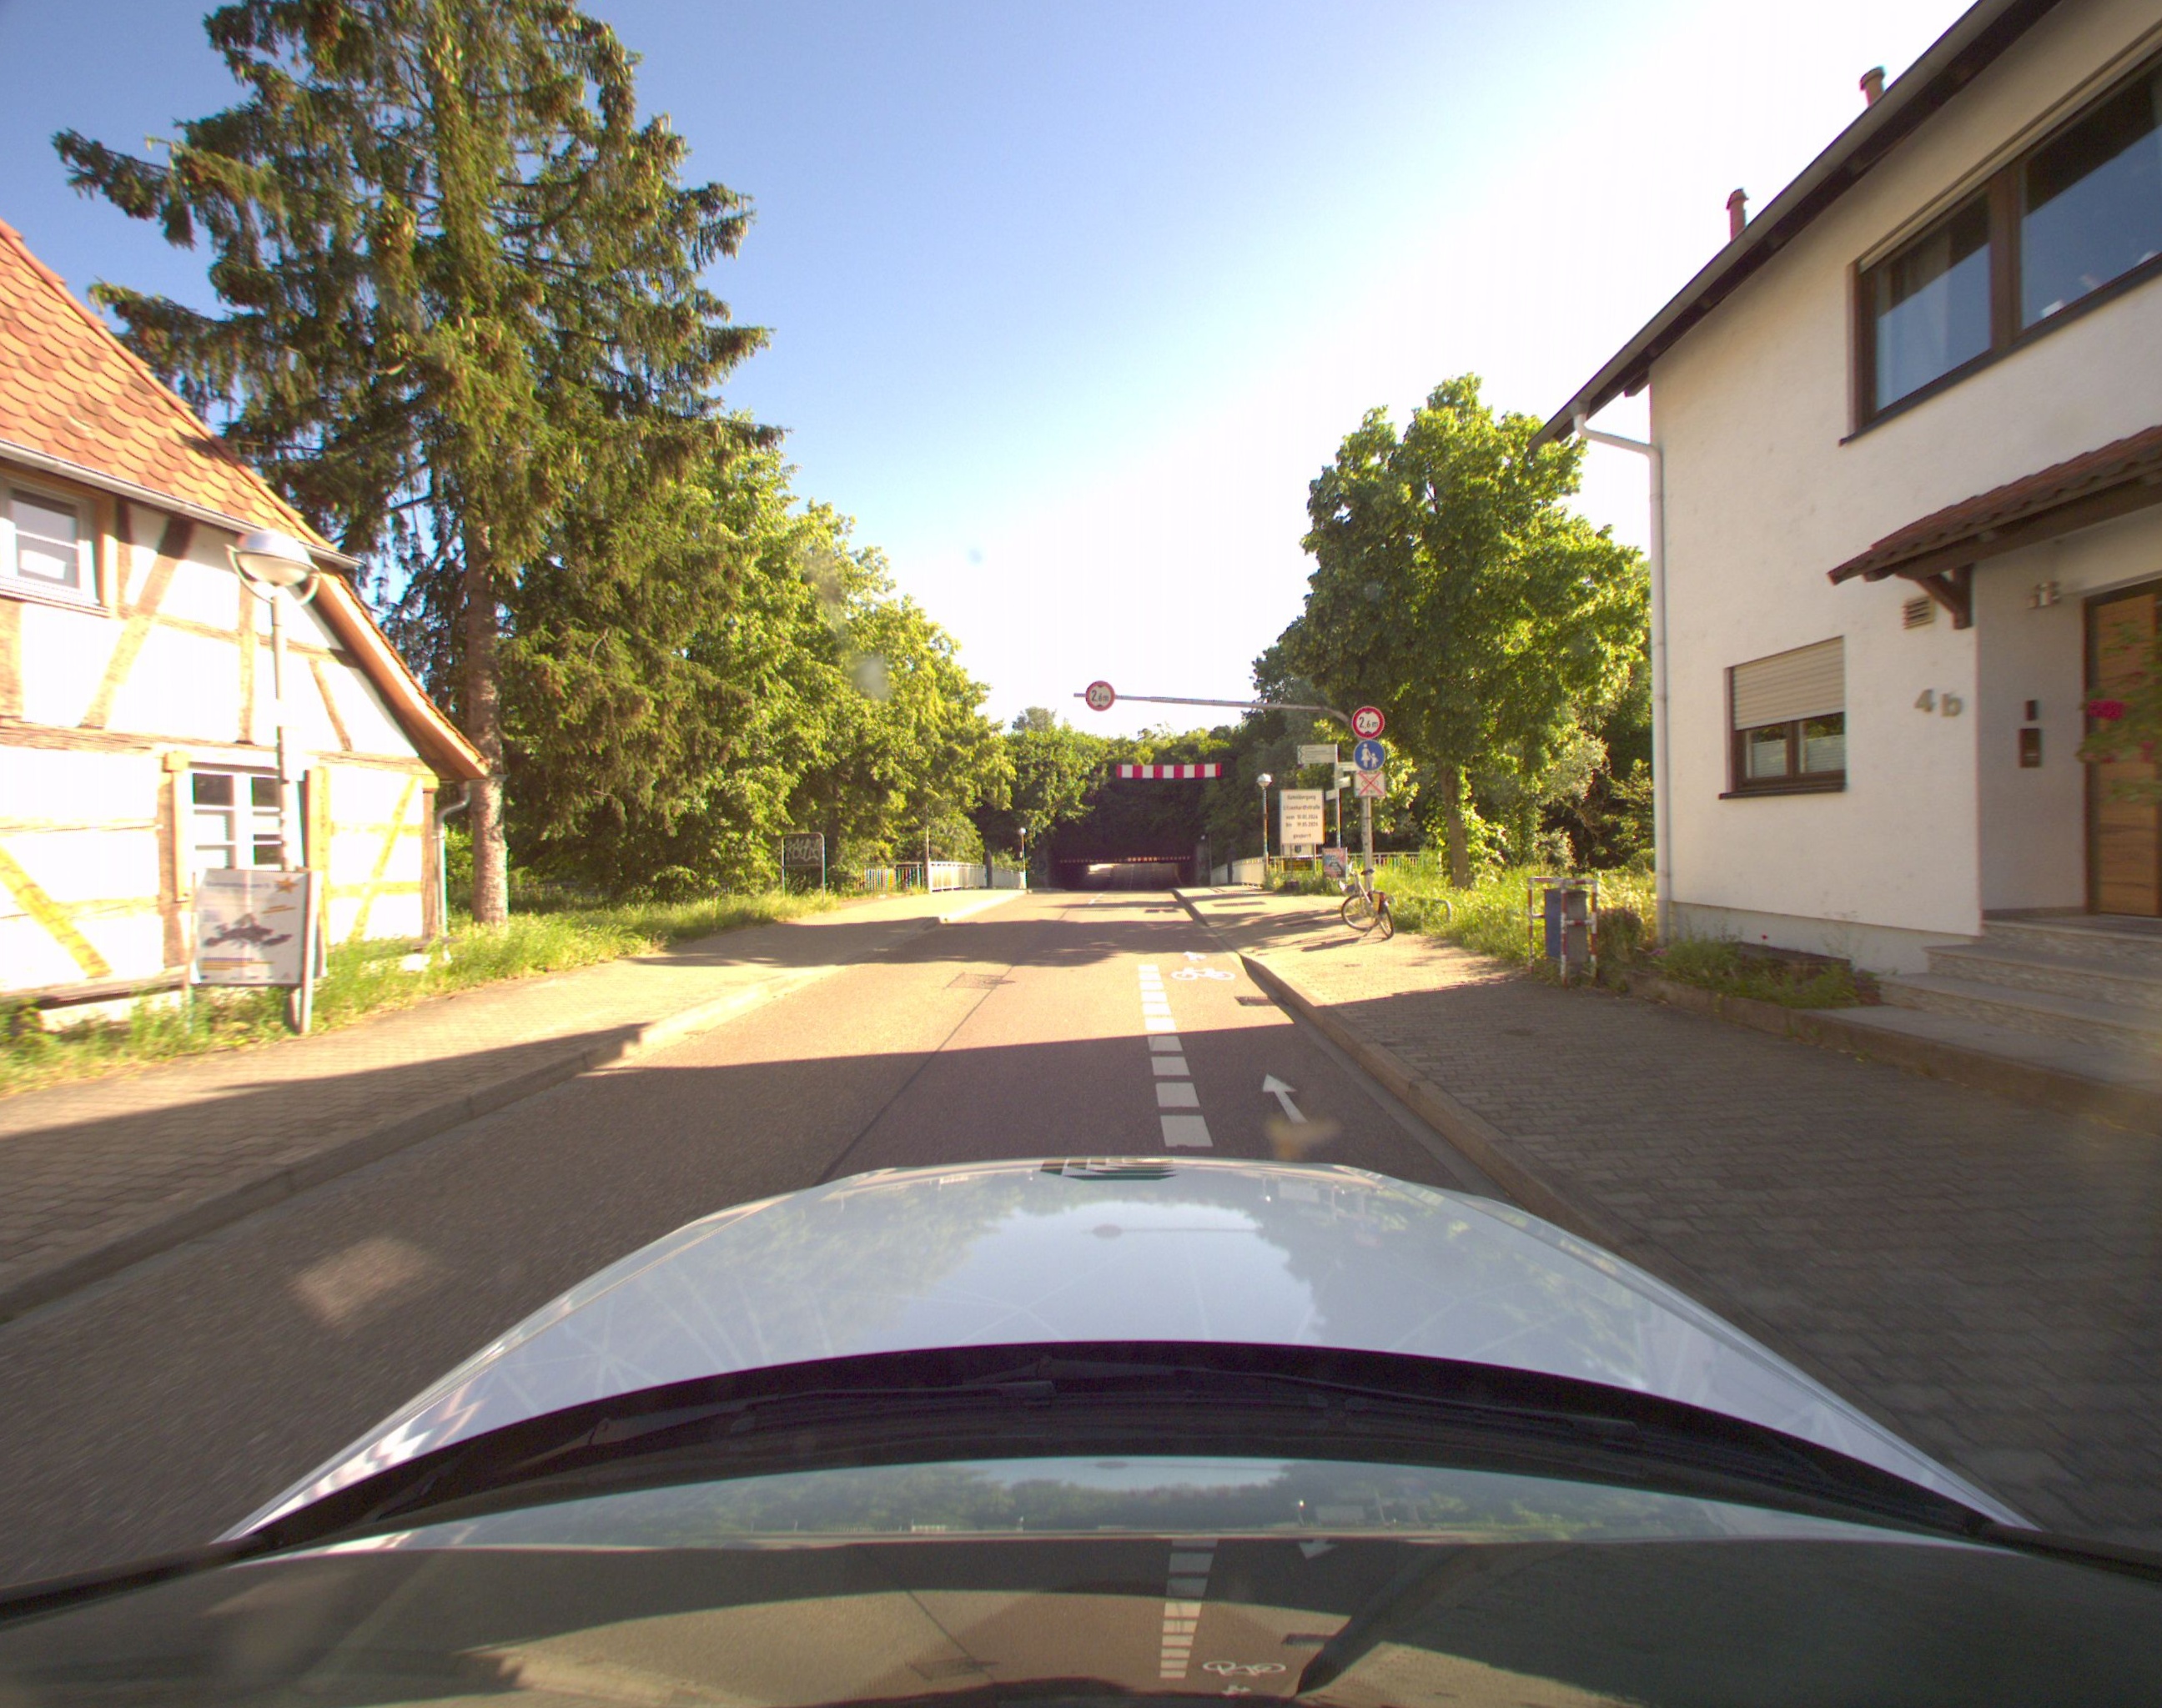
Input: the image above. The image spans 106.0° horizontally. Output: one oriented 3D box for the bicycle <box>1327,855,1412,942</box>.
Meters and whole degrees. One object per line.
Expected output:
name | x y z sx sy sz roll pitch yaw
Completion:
bicycle | 4.338 0.637 12.371 0.686 1.157 1.540 -6 0 2
